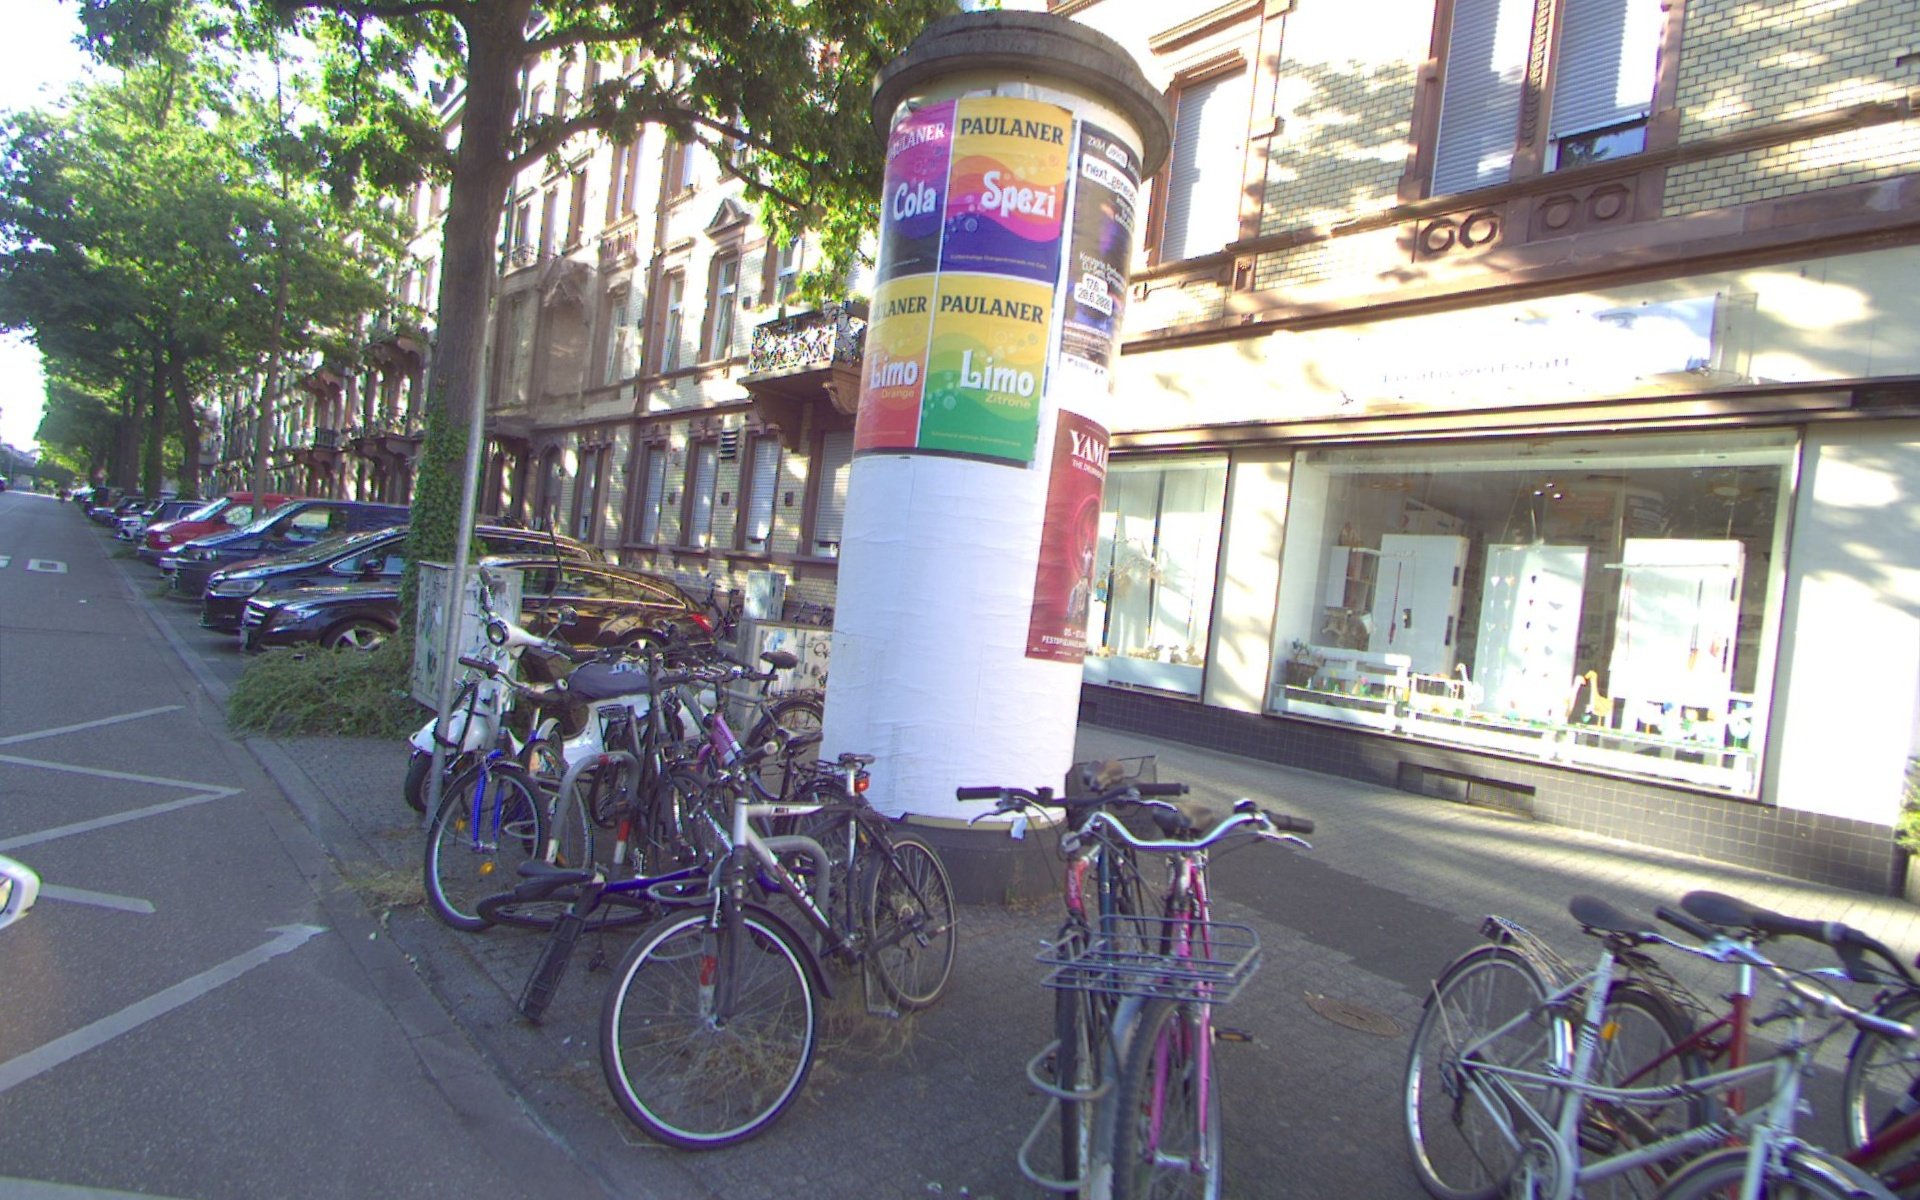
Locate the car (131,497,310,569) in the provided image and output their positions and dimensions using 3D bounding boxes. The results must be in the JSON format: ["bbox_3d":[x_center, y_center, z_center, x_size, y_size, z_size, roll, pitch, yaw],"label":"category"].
[{"bbox_3d":[-21.772,-1.954,29.706,3.995,1.649,1.782,4,2,-44],"label":"car"}]

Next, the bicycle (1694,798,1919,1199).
[{"bbox_3d":[2.737,1.205,2.445,0.564,1.108,1.474,4,2,-10],"label":"bicycle"}]

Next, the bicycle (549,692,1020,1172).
[{"bbox_3d":[-0.423,0.901,3.423,0.488,1.001,1.933,5,1,25],"label":"bicycle"}]

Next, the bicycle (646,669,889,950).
[{"bbox_3d":[-0.944,0.872,4.639,0.351,0.940,1.508,2,2,-40],"label":"bicycle"}]

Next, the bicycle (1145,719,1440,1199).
[{"bbox_3d":[0.760,1.009,2.736,0.417,1.108,1.936,5,1,11],"label":"bicycle"}]

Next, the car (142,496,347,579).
[{"bbox_3d":[-18.549,-1.588,26.175,4.165,1.649,1.817,5,1,-40],"label":"car"}]

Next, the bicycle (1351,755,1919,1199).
[{"bbox_3d":[1.362,1.066,2.237,0.417,1.108,1.936,5,1,9],"label":"bicycle"}]

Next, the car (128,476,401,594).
[{"bbox_3d":[-15.337,-1.376,22.376,1.854,2.060,4.660,7,2,44],"label":"car"}]

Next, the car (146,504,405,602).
[{"bbox_3d":[-13.684,-0.907,20.244,4.038,1.530,1.856,5,1,-43],"label":"car"}]

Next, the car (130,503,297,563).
[{"bbox_3d":[-23.350,-2.076,31.545,3.993,1.453,1.772,4,2,-43],"label":"car"}]

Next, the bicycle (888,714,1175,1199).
[{"bbox_3d":[0.299,0.988,2.875,0.493,1.066,1.936,5,1,11],"label":"bicycle"}]

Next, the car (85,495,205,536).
[{"bbox_3d":[-38.757,-3.995,47.893,1.810,1.422,4.209,7,2,43],"label":"car"}]

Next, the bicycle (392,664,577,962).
[{"bbox_3d":[-1.972,0.818,4.310,0.348,0.940,1.409,4,1,-12],"label":"bicycle"}]

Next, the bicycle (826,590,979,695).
[{"bbox_3d":[-0.864,0.556,14.024,0.667,1.187,2.564,3,2,-39],"label":"bicycle"}]

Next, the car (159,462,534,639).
[{"bbox_3d":[-10.238,-0.729,17.099,5.006,2.242,1.968,7,0,-44],"label":"car"}]

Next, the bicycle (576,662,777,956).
[{"bbox_3d":[-1.314,0.829,4.466,0.351,0.940,1.511,3,2,-34],"label":"bicycle"}]

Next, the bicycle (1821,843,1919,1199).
[{"bbox_3d":[2.376,1.149,1.653,0.418,1.108,1.473,4,2,-12],"label":"bicycle"}]

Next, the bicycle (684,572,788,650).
[{"bbox_3d":[-4.049,0.168,18.027,0.667,1.187,2.564,3,2,-39],"label":"bicycle"}]

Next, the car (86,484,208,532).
[{"bbox_3d":[-44.495,-5.019,55.120,5.036,1.951,1.813,4,2,-43],"label":"car"}]

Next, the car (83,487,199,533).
[{"bbox_3d":[-42.352,-4.649,52.102,1.803,1.818,4.225,7,2,28],"label":"car"}]

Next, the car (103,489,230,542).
[{"bbox_3d":[-35.050,-3.718,44.488,4.205,1.800,1.812,4,2,-44],"label":"car"}]

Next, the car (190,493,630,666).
[{"bbox_3d":[-6.925,-0.183,12.980,4.660,1.700,1.832,5,1,-37],"label":"car"}]

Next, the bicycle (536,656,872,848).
[{"bbox_3d":[-1.402,0.818,5.852,1.922,0.940,0.350,3,2,-43],"label":"bicycle"}]

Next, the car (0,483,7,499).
[{"bbox_3d":[-93.785,-10.695,96.086,1.966,1.504,3.994,6,-1,-10],"label":"car"}]

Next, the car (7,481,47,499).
[{"bbox_3d":[-137.452,-16.135,148.235,3.964,1.881,1.734,8,0,-35],"label":"car"}]

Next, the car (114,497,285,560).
[{"bbox_3d":[-25.018,-2.325,33.177,4.325,1.578,1.827,3,4,-43],"label":"car"}]

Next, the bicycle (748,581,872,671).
[{"bbox_3d":[-2.448,0.378,16.075,0.667,1.187,2.564,3,2,-39],"label":"bicycle"}]

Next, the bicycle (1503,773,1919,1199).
[{"bbox_3d":[1.807,1.109,2.158,0.417,1.108,1.936,5,1,9],"label":"bicycle"}]

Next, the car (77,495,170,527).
[{"bbox_3d":[-47.043,-4.999,56.636,1.695,1.311,3.838,7,2,44],"label":"car"}]

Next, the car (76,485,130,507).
[{"bbox_3d":[-82.457,-9.983,96.784,3.835,1.594,1.696,4,2,-44],"label":"car"}]

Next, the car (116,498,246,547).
[{"bbox_3d":[-31.465,-3.128,40.698,3.994,1.487,1.713,5,1,-43],"label":"car"}]

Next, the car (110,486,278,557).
[{"bbox_3d":[-26.643,-2.708,35.089,4.427,1.951,1.826,3,4,-45],"label":"car"}]

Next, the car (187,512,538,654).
[{"bbox_3d":[-8.655,-0.196,14.781,4.091,1.553,1.704,7,0,-42],"label":"car"}]

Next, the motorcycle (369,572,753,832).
[{"bbox_3d":[-2.242,0.553,5.831,1.889,1.250,0.678,4,2,-42],"label":"motorcycle"}]

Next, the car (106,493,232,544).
[{"bbox_3d":[-33.263,-3.411,42.358,3.994,1.628,1.713,5,2,-43],"label":"car"}]

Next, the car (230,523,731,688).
[{"bbox_3d":[-5.220,0.135,11.388,4.763,1.431,1.830,5,1,-41],"label":"car"}]
